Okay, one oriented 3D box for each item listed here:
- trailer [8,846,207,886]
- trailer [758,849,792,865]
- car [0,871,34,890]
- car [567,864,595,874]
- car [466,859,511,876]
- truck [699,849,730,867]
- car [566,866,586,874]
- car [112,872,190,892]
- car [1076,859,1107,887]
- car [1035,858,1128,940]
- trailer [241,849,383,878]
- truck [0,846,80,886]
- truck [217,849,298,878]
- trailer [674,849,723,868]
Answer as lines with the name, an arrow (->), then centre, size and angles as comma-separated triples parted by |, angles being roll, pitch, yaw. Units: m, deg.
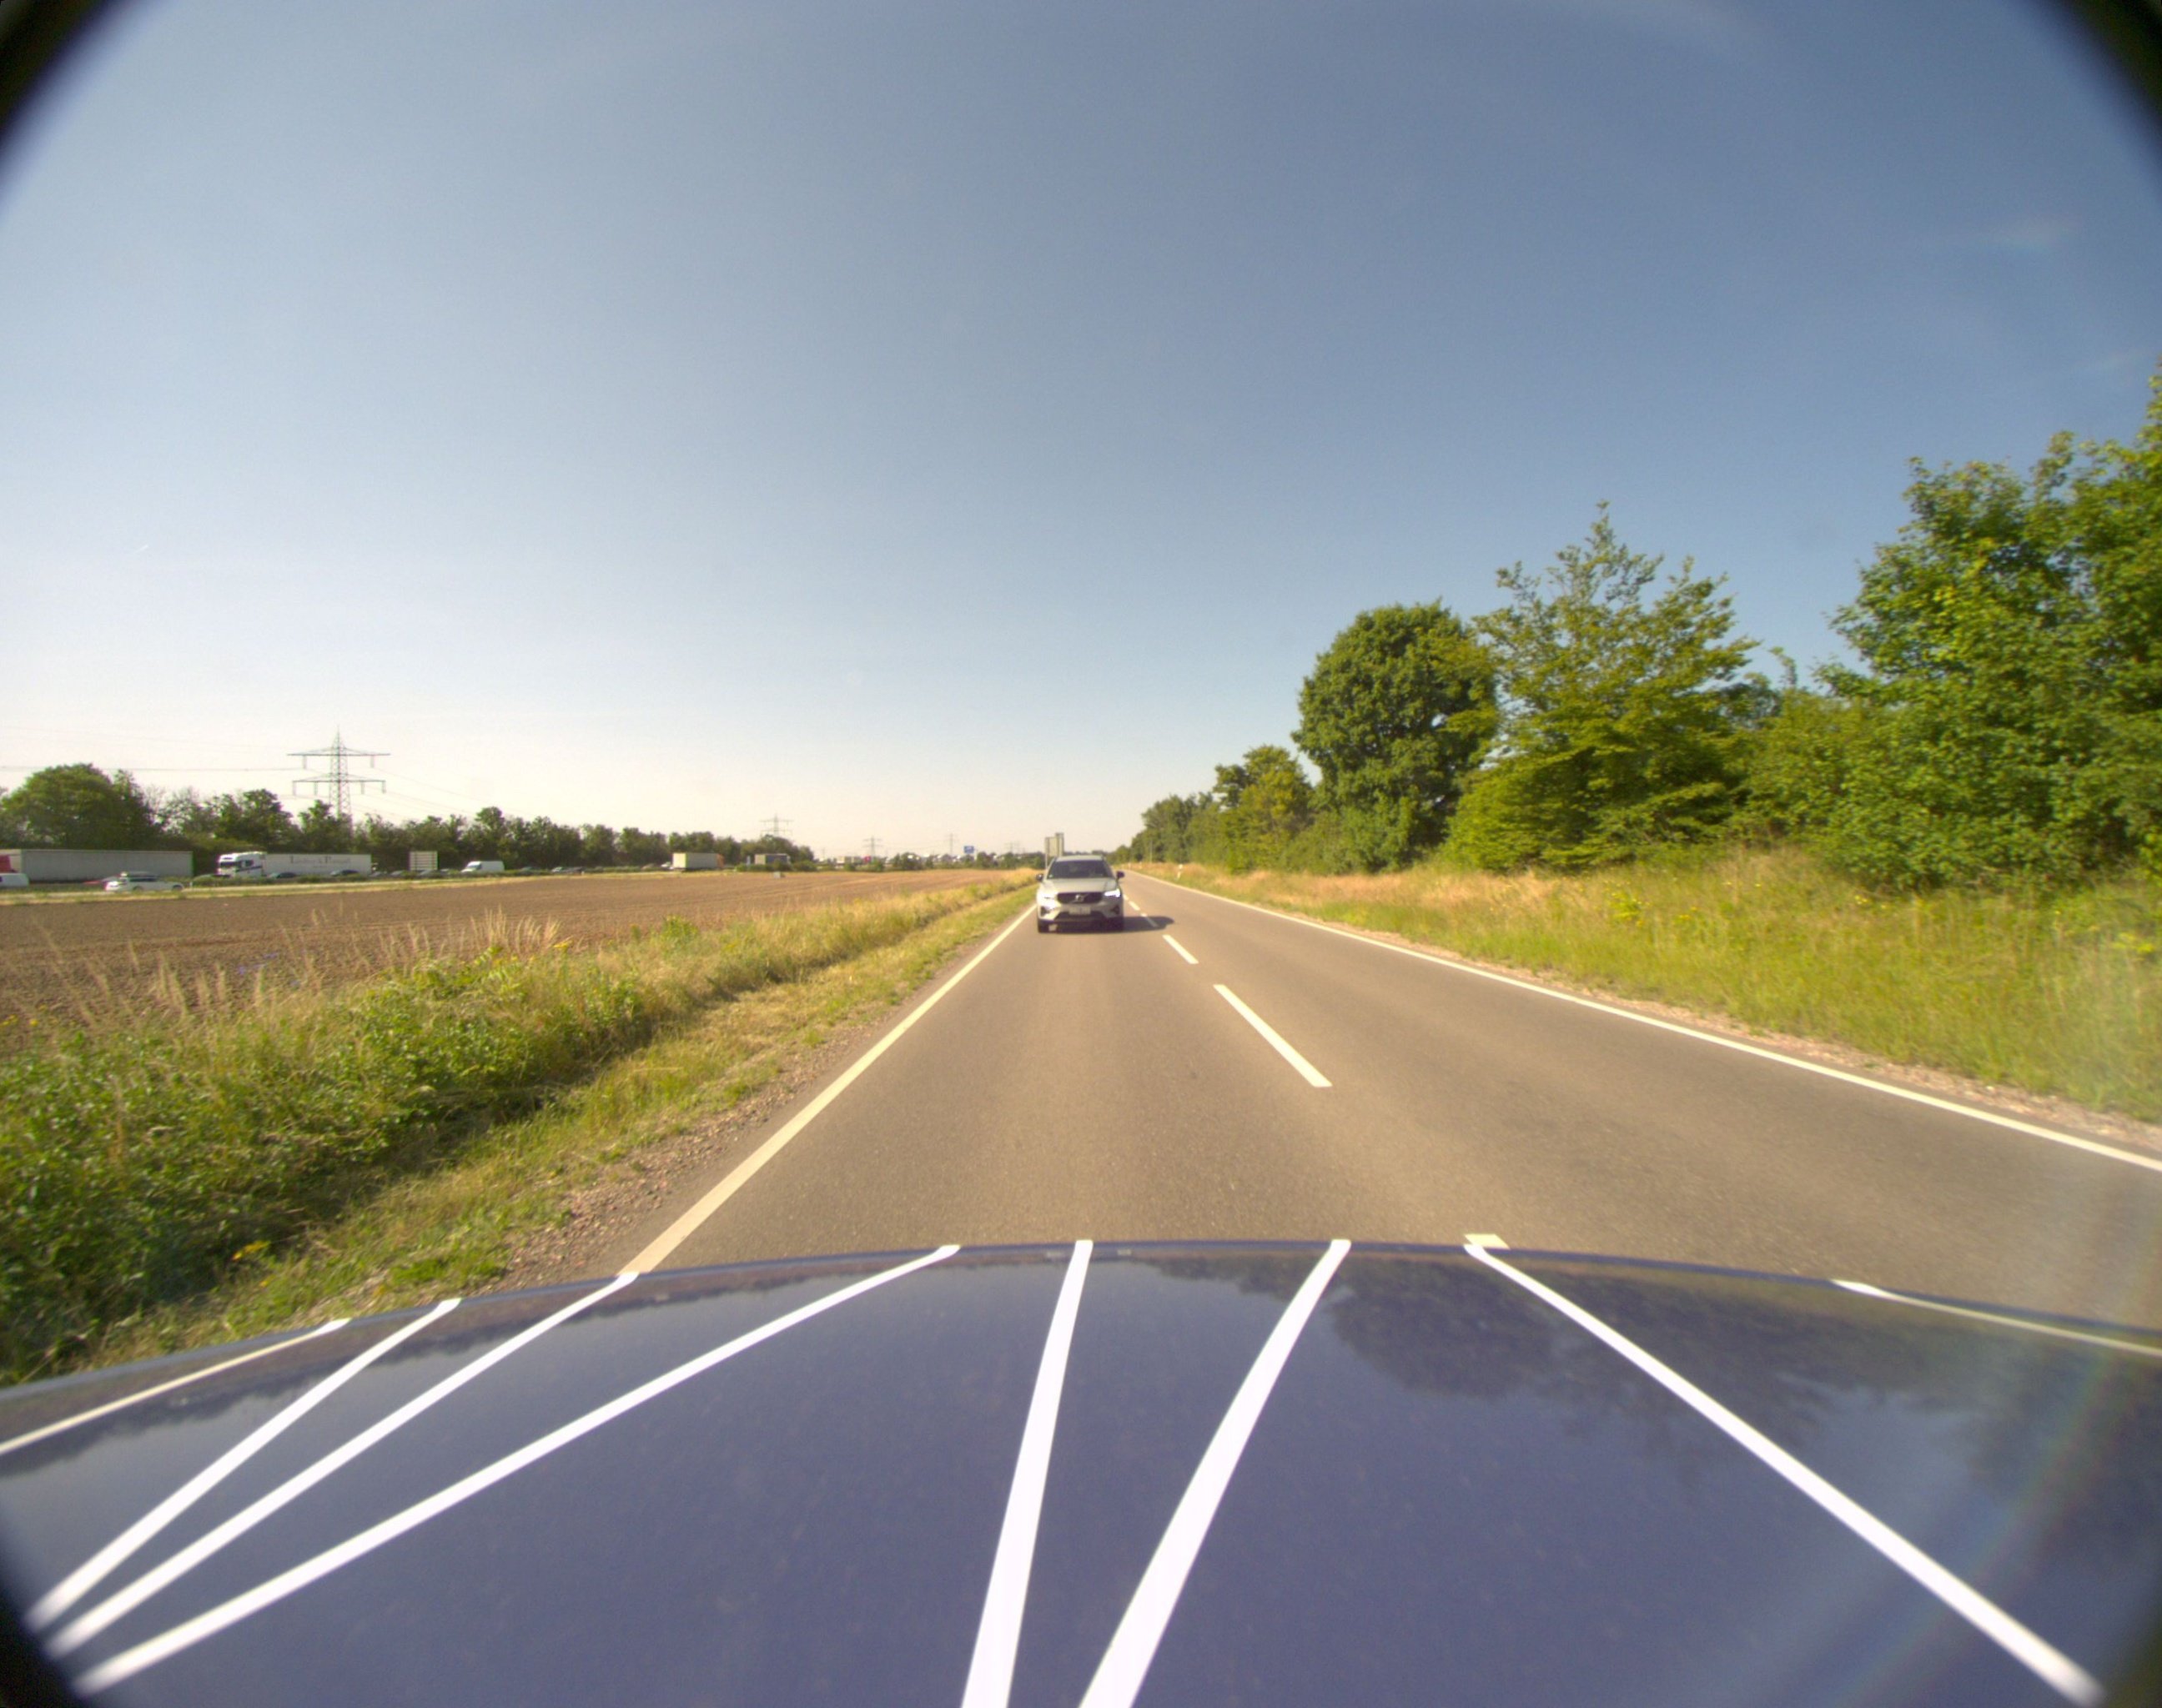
trailer -> -100.779, 1.185, 79.370 | 2.953, 3.711, 13.783 | -1, 0, 1
trailer -> -79.423, 0.863, 197.674 | 3.080, 3.779, 14.593 | -2, -1, -1
car -> -94.794, 2.342, 66.059 | 1.707, 1.629, 4.094 | -3, 0, 0
car -> -81.706, 2.474, 124.179 | 1.707, 1.534, 4.197 | -3, 0, 1
car -> -95.055, 2.138, 121.997 | 2.042, 2.432, 6.414 | -2, 0, 1
truck -> -80.770, 0.907, 167.670 | 3.111, 3.826, 6.951 | -1, 0, 1
car -> -93.049, 2.958, 139.980 | 1.343, 1.276, 3.292 | -3, 0, 2
car -> -82.691, 2.442, 67.627 | 1.707, 1.534, 4.197 | -3, 0, 1
car -> 0.671, 1.161, 47.892 | 1.840, 1.627, 4.135 | -2, 0, 1
car -> 0.059, 0.932, 17.577 | 1.840, 1.627, 4.136 | -2, 0, 1
trailer -> -100.439, 1.163, 99.920 | 3.210, 3.510, 15.083 | 0, 0, 0
truck -> -100.902, 1.172, 72.488 | 2.953, 3.711, 5.870 | -1, 0, 1
truck -> -100.491, 1.144, 92.829 | 3.210, 3.510, 6.109 | 0, 0, 0
trailer -> -80.903, 0.891, 161.180 | 3.111, 3.826, 13.720 | -1, 0, 1
